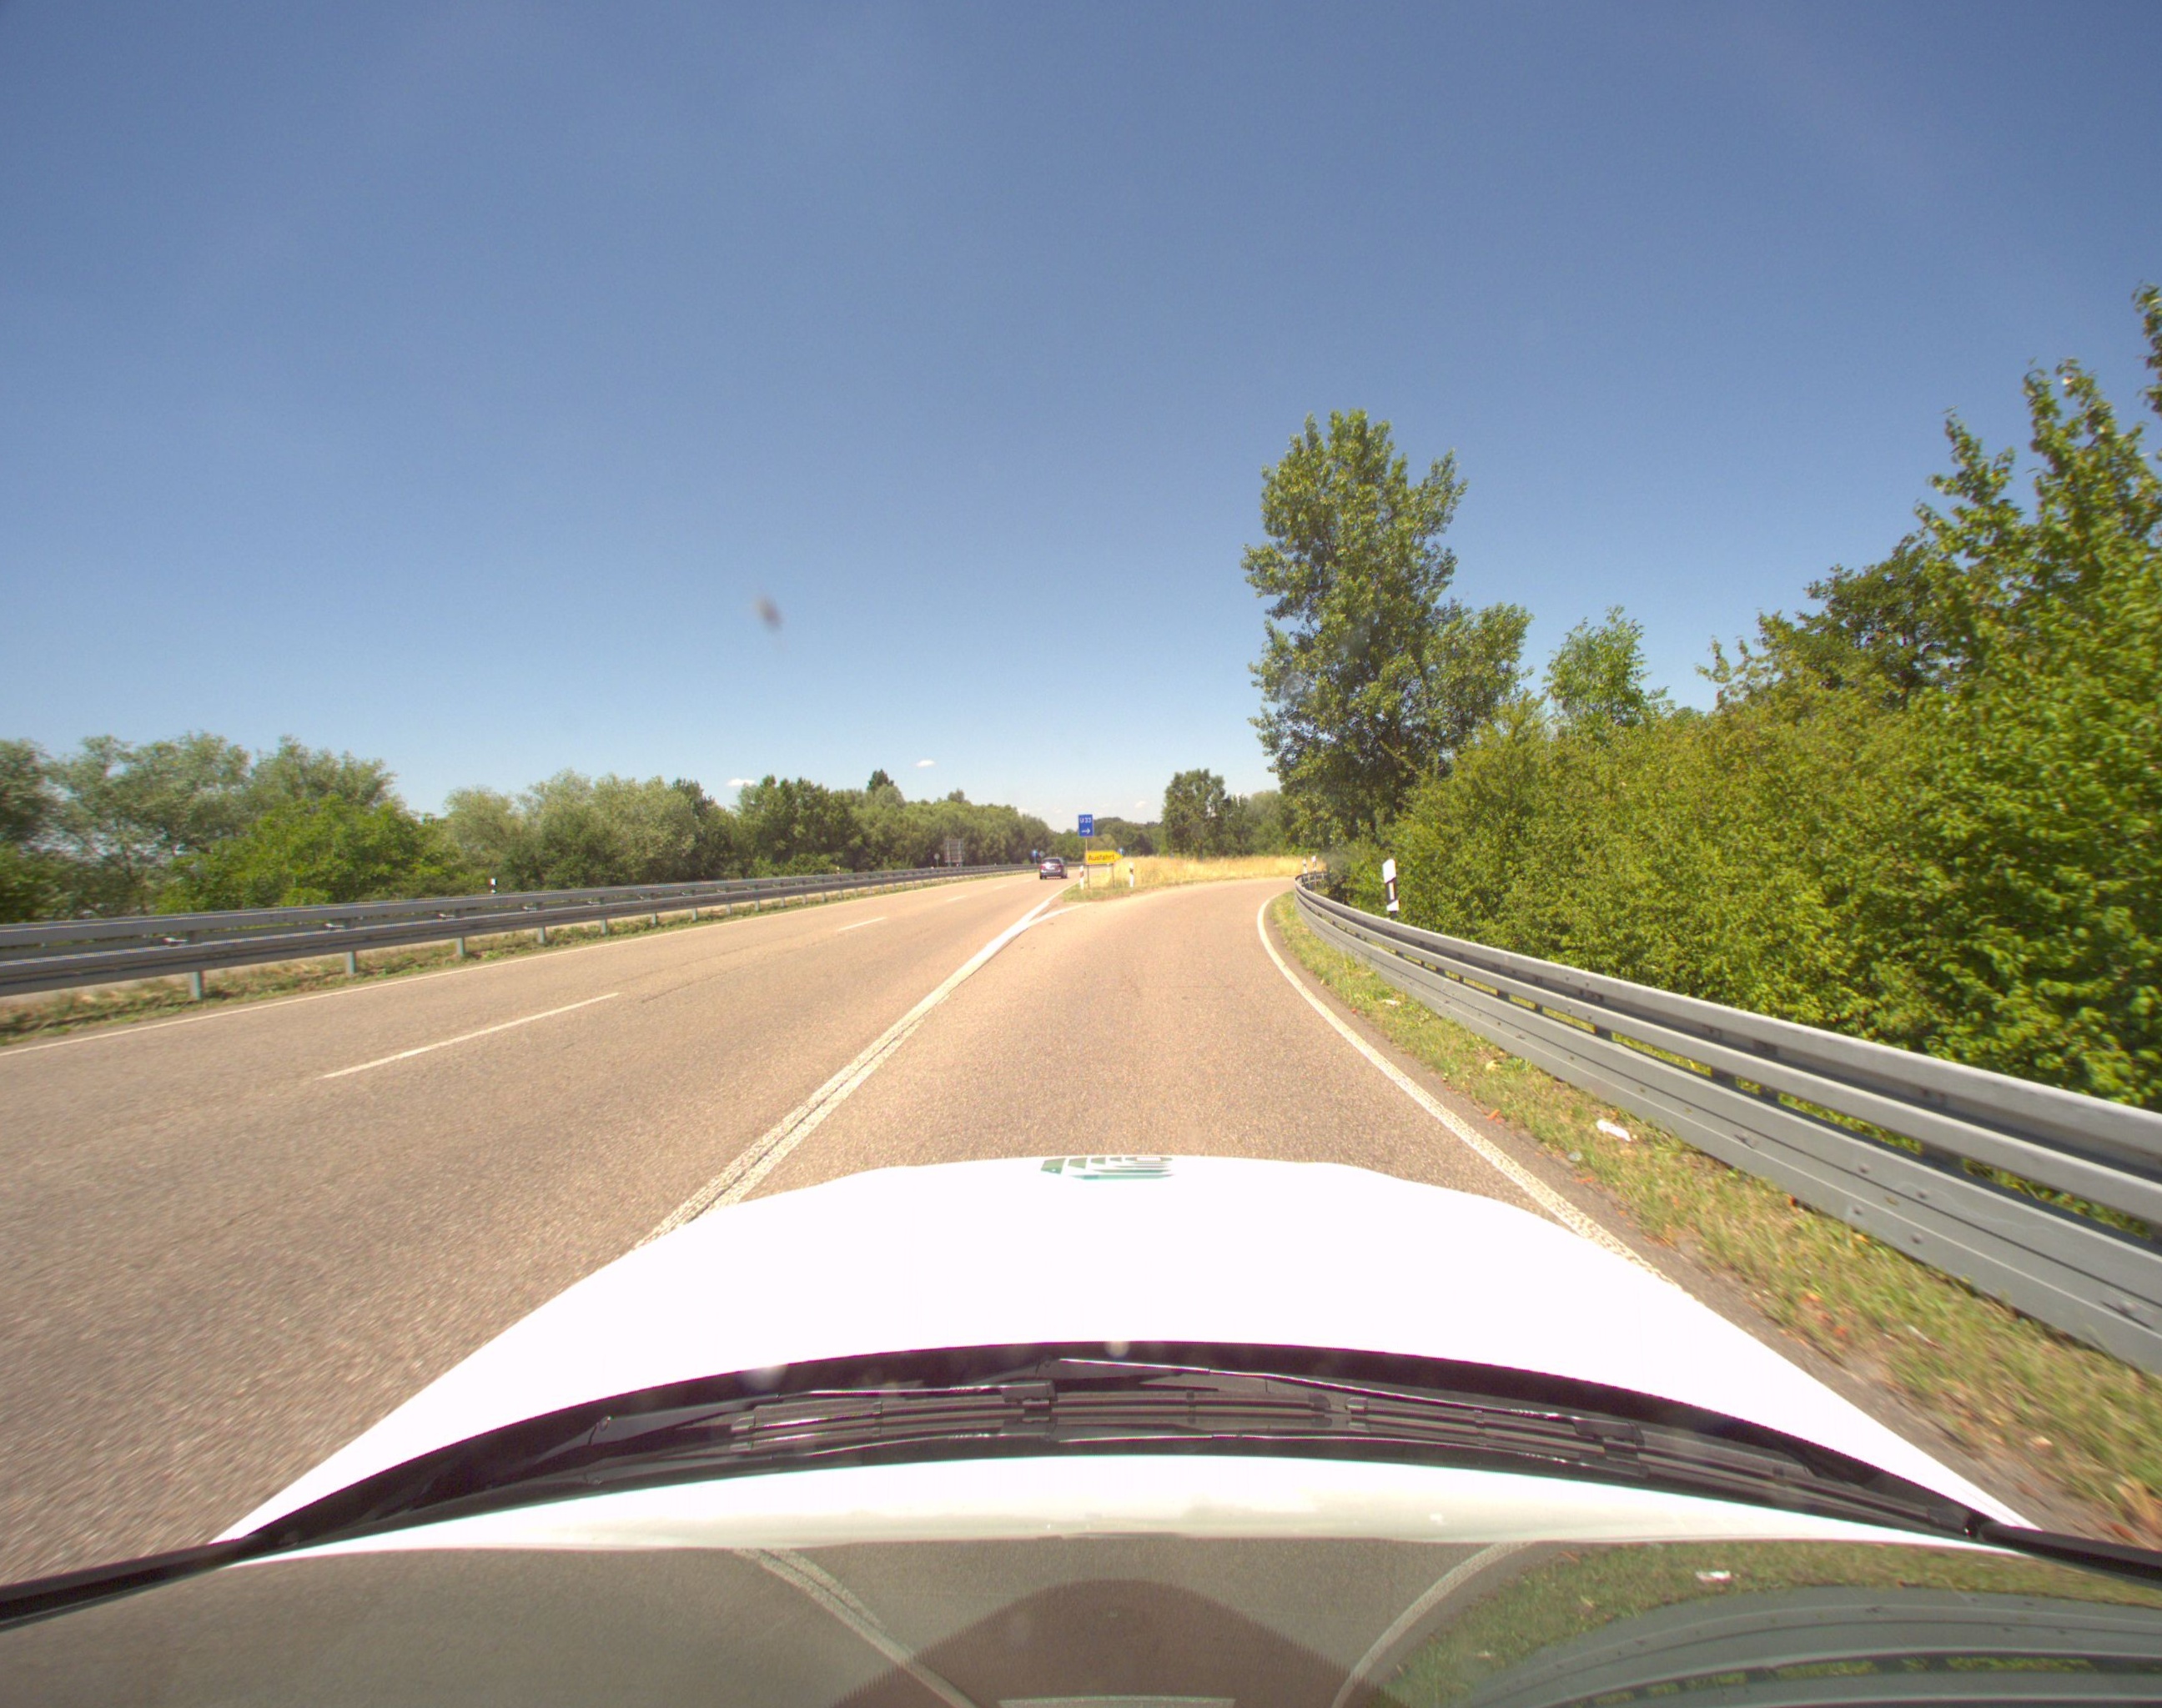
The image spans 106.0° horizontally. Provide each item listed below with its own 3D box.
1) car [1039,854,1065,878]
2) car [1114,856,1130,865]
[{"bbox_3d":[-2.136,0.853,60.273,1.787,1.667,4.553,0,1,-1],"label":"car"},{"bbox_3d":[7.099,1.101,141.066,1.828,1.530,4.486,-1,0,14],"label":"car"}]
